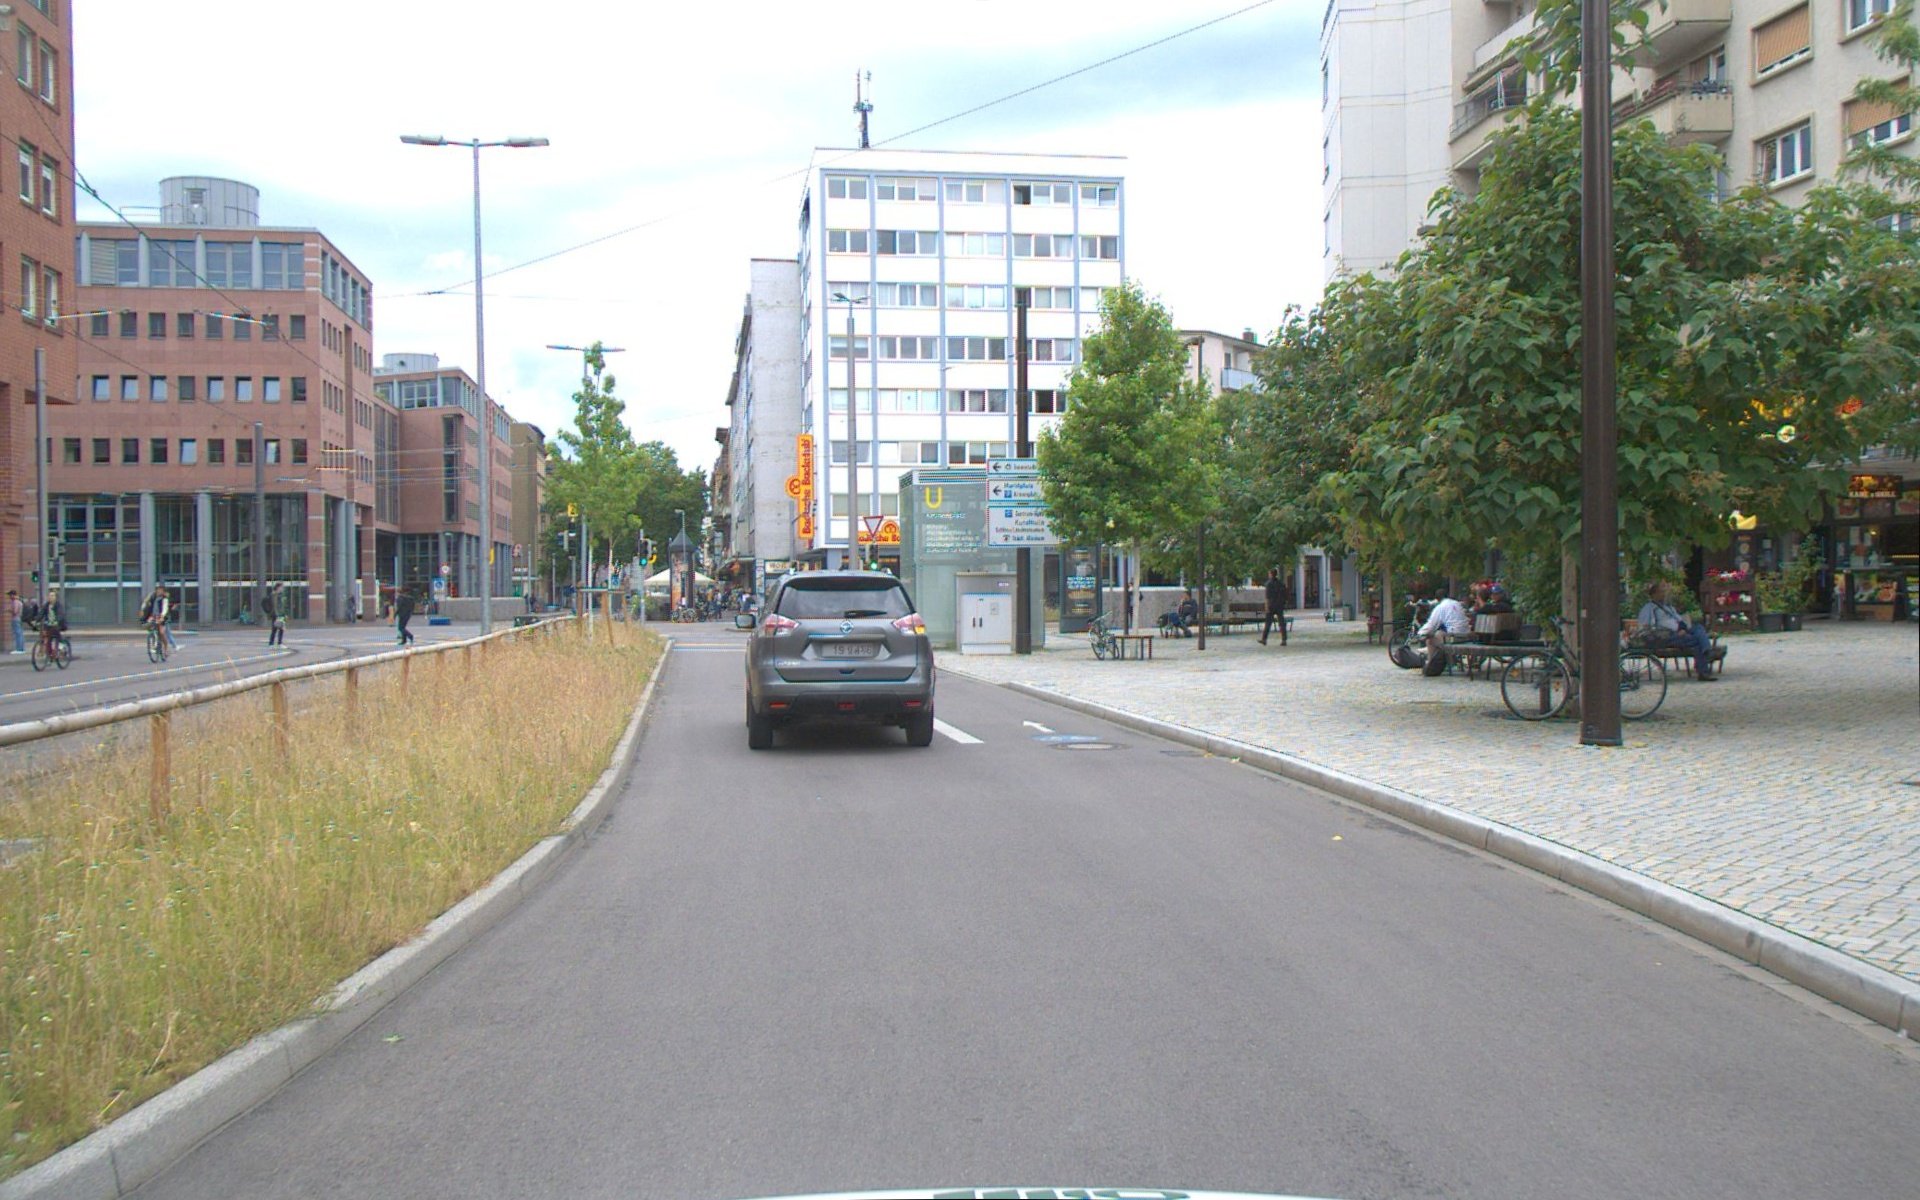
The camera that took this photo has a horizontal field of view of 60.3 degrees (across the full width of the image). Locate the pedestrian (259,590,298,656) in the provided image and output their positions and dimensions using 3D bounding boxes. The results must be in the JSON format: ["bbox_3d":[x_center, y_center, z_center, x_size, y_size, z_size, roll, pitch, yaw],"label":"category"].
[{"bbox_3d":[-20.134,0.679,48.882,0.881,1.923,0.797,1,-1,-12],"label":"pedestrian"}]

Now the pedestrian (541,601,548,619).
[{"bbox_3d":[-40.261,1.008,160.289,0.591,1.744,0.652,0,0,-17],"label":"pedestrian"}]

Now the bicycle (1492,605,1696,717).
[{"bbox_3d":[6.589,0.623,17.245,1.874,1.142,0.645,0,0,1],"label":"bicycle"}]

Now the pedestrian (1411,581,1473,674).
[{"bbox_3d":[7.336,0.407,25.190,0.621,1.390,0.681,0,0,-28],"label":"pedestrian"}]

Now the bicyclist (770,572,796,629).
[{"bbox_3d":[-5.791,0.023,54.166,0.818,1.844,0.876,0,0,-7],"label":"bicyclist"}]

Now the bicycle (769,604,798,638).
[{"bbox_3d":[-5.815,0.682,54.353,0.884,1.063,3.273,-1,0,-7],"label":"bicycle"}]

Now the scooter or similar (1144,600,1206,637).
[{"bbox_3d":[6.089,0.526,46.884,1.557,0.965,0.724,-2,0,29],"label":"scooter or similar"}]

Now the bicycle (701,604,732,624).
[{"bbox_3d":[-13.663,0.778,92.852,1.674,1.084,0.434,0,0,-25],"label":"bicycle"}]

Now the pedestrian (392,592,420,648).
[{"bbox_3d":[-17.164,0.622,51.289,0.731,1.713,0.796,1,-1,-14],"label":"pedestrian"}]

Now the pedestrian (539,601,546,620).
[{"bbox_3d":[-37.947,0.955,150.269,0.591,1.744,0.652,0,0,-17],"label":"pedestrian"}]

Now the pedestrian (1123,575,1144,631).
[{"bbox_3d":[5.552,0.094,53.005,0.657,1.792,0.642,0,0,6],"label":"pedestrian"}]

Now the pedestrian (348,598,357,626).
[{"bbox_3d":[-33.901,0.643,92.306,0.443,1.559,0.517,0,0,-27],"label":"pedestrian"}]

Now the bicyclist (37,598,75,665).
[{"bbox_3d":[-19.559,0.677,35.802,0.470,1.431,0.810,-1,0,-11],"label":"bicyclist"}]

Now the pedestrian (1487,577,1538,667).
[{"bbox_3d":[8.716,0.341,26.113,0.531,1.390,1.281,0,0,8],"label":"pedestrian"}]

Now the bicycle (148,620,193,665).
[{"bbox_3d":[-19.157,1.023,40.156,0.467,1.039,1.907,-1,0,-11],"label":"bicycle"}]

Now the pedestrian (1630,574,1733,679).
[{"bbox_3d":[9.813,0.350,22.531,0.616,1.390,1.406,0,0,-10],"label":"pedestrian"}]

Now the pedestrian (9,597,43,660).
[{"bbox_3d":[-25.568,0.783,45.288,0.559,1.713,0.796,1,-1,-14],"label":"pedestrian"}]

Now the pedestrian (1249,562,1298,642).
[{"bbox_3d":[7.439,0.055,39.264,0.700,1.833,1.075,-3,0,-10],"label":"pedestrian"}]

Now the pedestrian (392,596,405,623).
[{"bbox_3d":[-39.150,0.655,115.271,0.726,1.874,0.694,0,0,-34],"label":"pedestrian"}]

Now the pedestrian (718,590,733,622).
[{"bbox_3d":[-13.072,0.337,92.327,0.720,1.776,0.660,0,0,-18],"label":"pedestrian"}]

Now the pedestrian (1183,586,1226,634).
[{"bbox_3d":[6.921,0.276,46.785,1.024,1.319,0.732,-2,0,-4],"label":"pedestrian"}]

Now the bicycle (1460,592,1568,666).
[{"bbox_3d":[8.991,0.467,26.879,1.566,1.130,0.478,-2,0,5],"label":"bicycle"}]

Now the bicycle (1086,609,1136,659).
[{"bbox_3d":[3.220,0.716,35.181,0.644,0.995,1.755,-1,0,19],"label":"bicycle"}]

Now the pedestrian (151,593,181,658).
[{"bbox_3d":[-23.550,0.752,49.071,0.599,1.923,0.797,-1,-1,-12],"label":"pedestrian"}]

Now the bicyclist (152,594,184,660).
[{"bbox_3d":[-19.133,0.655,39.956,0.482,1.567,0.810,-1,0,-11],"label":"bicyclist"}]

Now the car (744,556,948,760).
[{"bbox_3d":[-1.302,0.483,17.364,1.828,1.805,4.560,-1,1,-7],"label":"car"}]

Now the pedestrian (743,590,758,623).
[{"bbox_3d":[-11.730,0.369,92.530,0.701,1.864,1.012,0,0,-17],"label":"pedestrian"}]

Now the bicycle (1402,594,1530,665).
[{"bbox_3d":[8.534,0.498,27.944,1.991,1.130,0.478,-2,0,6],"label":"bicycle"}]

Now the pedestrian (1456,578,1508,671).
[{"bbox_3d":[8.023,0.370,25.433,0.614,1.390,0.920,0,0,8],"label":"pedestrian"}]

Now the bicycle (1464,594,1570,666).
[{"bbox_3d":[9.207,0.495,27.367,1.566,1.130,0.478,-2,0,5],"label":"bicycle"}]

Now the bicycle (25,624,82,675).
[{"bbox_3d":[-19.494,1.051,35.600,0.470,1.039,1.907,-1,0,-11],"label":"bicycle"}]

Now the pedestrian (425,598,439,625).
[{"bbox_3d":[-36.511,0.767,114.339,0.727,1.874,0.693,0,0,-38],"label":"pedestrian"}]

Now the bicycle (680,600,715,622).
[{"bbox_3d":[-14.704,0.617,92.709,1.842,1.192,0.527,0,0,-24],"label":"bicycle"}]

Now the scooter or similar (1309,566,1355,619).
[{"bbox_3d":[13.307,-0.277,59.250,1.062,1.838,2.274,-1,0,-1],"label":"scooter or similar"}]
